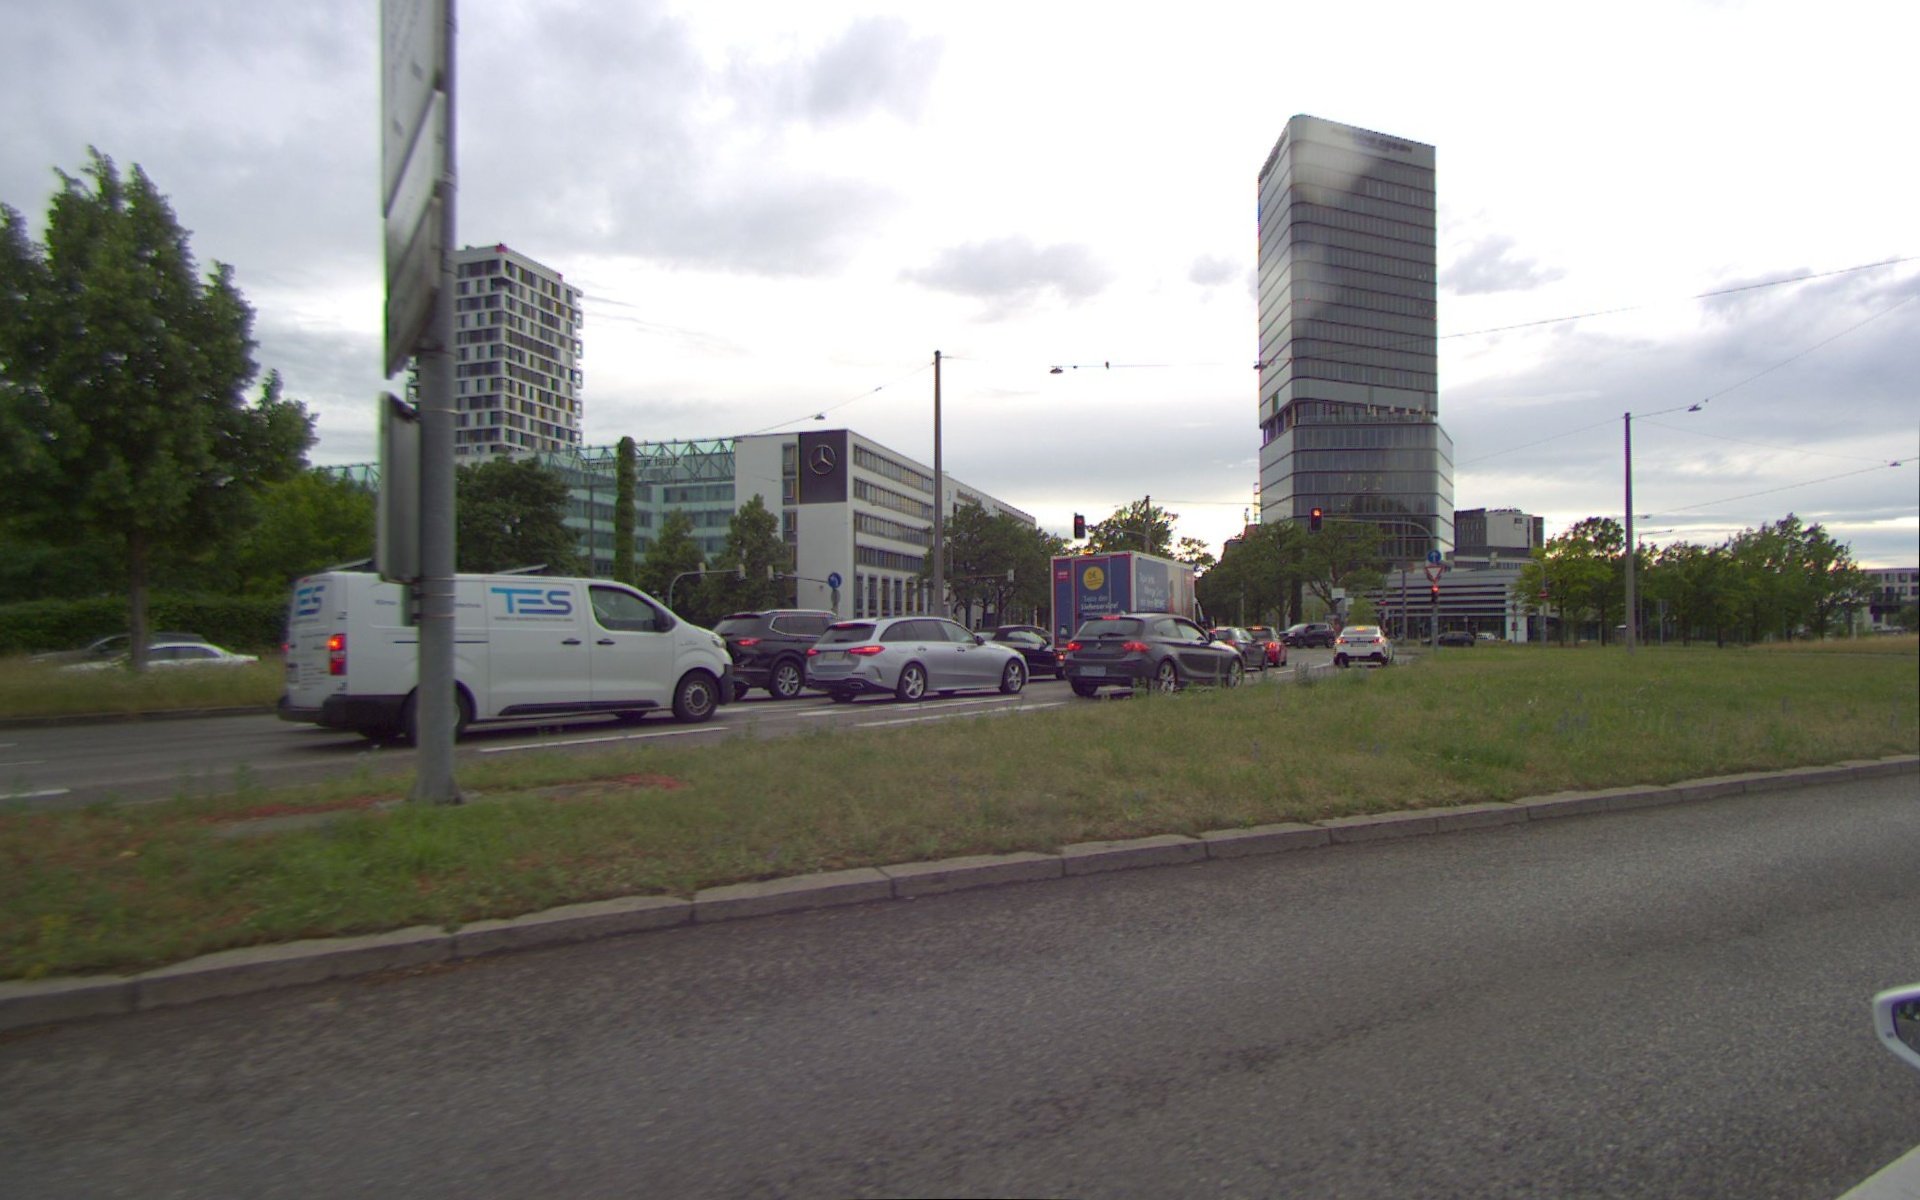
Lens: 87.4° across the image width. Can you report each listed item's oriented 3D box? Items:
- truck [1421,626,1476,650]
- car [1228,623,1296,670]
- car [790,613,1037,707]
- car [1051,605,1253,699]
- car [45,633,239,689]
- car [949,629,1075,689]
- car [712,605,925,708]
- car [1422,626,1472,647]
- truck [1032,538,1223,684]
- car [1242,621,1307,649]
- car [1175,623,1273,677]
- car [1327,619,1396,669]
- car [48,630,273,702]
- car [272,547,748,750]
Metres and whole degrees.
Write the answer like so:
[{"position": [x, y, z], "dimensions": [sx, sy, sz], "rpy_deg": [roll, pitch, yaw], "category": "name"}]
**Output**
[{"position": [41.502, 3.223, 85.374], "dimensions": [3.919, 2.040, 2.001], "rpy_deg": [0, -1, 15], "category": "truck"}, {"position": [11.350, 1.744, 37.598], "dimensions": [1.786, 1.644, 3.996], "rpy_deg": [-1, -3, 26], "category": "car"}, {"position": [-0.695, 1.001, 17.851], "dimensions": [1.817, 1.454, 4.500], "rpy_deg": [-3, -3, 40], "category": "car"}, {"position": [3.507, 0.847, 17.890], "dimensions": [1.847, 1.481, 3.957], "rpy_deg": [-1, -1, 40], "category": "car"}, {"position": [-25.199, 1.827, 31.155], "dimensions": [4.538, 1.504, 1.915], "rpy_deg": [0, -1, -38], "category": "car"}, {"position": [1.448, 1.491, 26.478], "dimensions": [1.729, 1.390, 3.859], "rpy_deg": [0, -1, 31], "category": "car"}, {"position": [-2.739, 1.022, 20.105], "dimensions": [1.816, 1.704, 4.052], "rpy_deg": [3, 3, 40], "category": "car"}, {"position": [39.771, 2.970, 82.085], "dimensions": [3.500, 1.582, 1.647], "rpy_deg": [0, 0, 18], "category": "car"}, {"position": [4.528, 0.271, 25.965], "dimensions": [2.628, 3.263, 6.533], "rpy_deg": [0, 0, 32], "category": "truck"}, {"position": [20.088, 2.214, 64.181], "dimensions": [3.683, 1.639, 1.738], "rpy_deg": [0, 1, -20], "category": "car"}, {"position": [8.468, 1.538, 32.040], "dimensions": [1.965, 1.587, 3.991], "rpy_deg": [0, -1, 32], "category": "car"}, {"position": [14.439, 1.571, 35.997], "dimensions": [1.890, 1.665, 4.386], "rpy_deg": [0, -3, 27], "category": "car"}, {"position": [-21.146, 1.672, 26.720], "dimensions": [4.570, 1.680, 1.876], "rpy_deg": [1, -1, -42], "category": "car"}, {"position": [-5.260, 0.554, 12.411], "dimensions": [1.883, 1.999, 5.066], "rpy_deg": [-3, -3, 41], "category": "car"}]
